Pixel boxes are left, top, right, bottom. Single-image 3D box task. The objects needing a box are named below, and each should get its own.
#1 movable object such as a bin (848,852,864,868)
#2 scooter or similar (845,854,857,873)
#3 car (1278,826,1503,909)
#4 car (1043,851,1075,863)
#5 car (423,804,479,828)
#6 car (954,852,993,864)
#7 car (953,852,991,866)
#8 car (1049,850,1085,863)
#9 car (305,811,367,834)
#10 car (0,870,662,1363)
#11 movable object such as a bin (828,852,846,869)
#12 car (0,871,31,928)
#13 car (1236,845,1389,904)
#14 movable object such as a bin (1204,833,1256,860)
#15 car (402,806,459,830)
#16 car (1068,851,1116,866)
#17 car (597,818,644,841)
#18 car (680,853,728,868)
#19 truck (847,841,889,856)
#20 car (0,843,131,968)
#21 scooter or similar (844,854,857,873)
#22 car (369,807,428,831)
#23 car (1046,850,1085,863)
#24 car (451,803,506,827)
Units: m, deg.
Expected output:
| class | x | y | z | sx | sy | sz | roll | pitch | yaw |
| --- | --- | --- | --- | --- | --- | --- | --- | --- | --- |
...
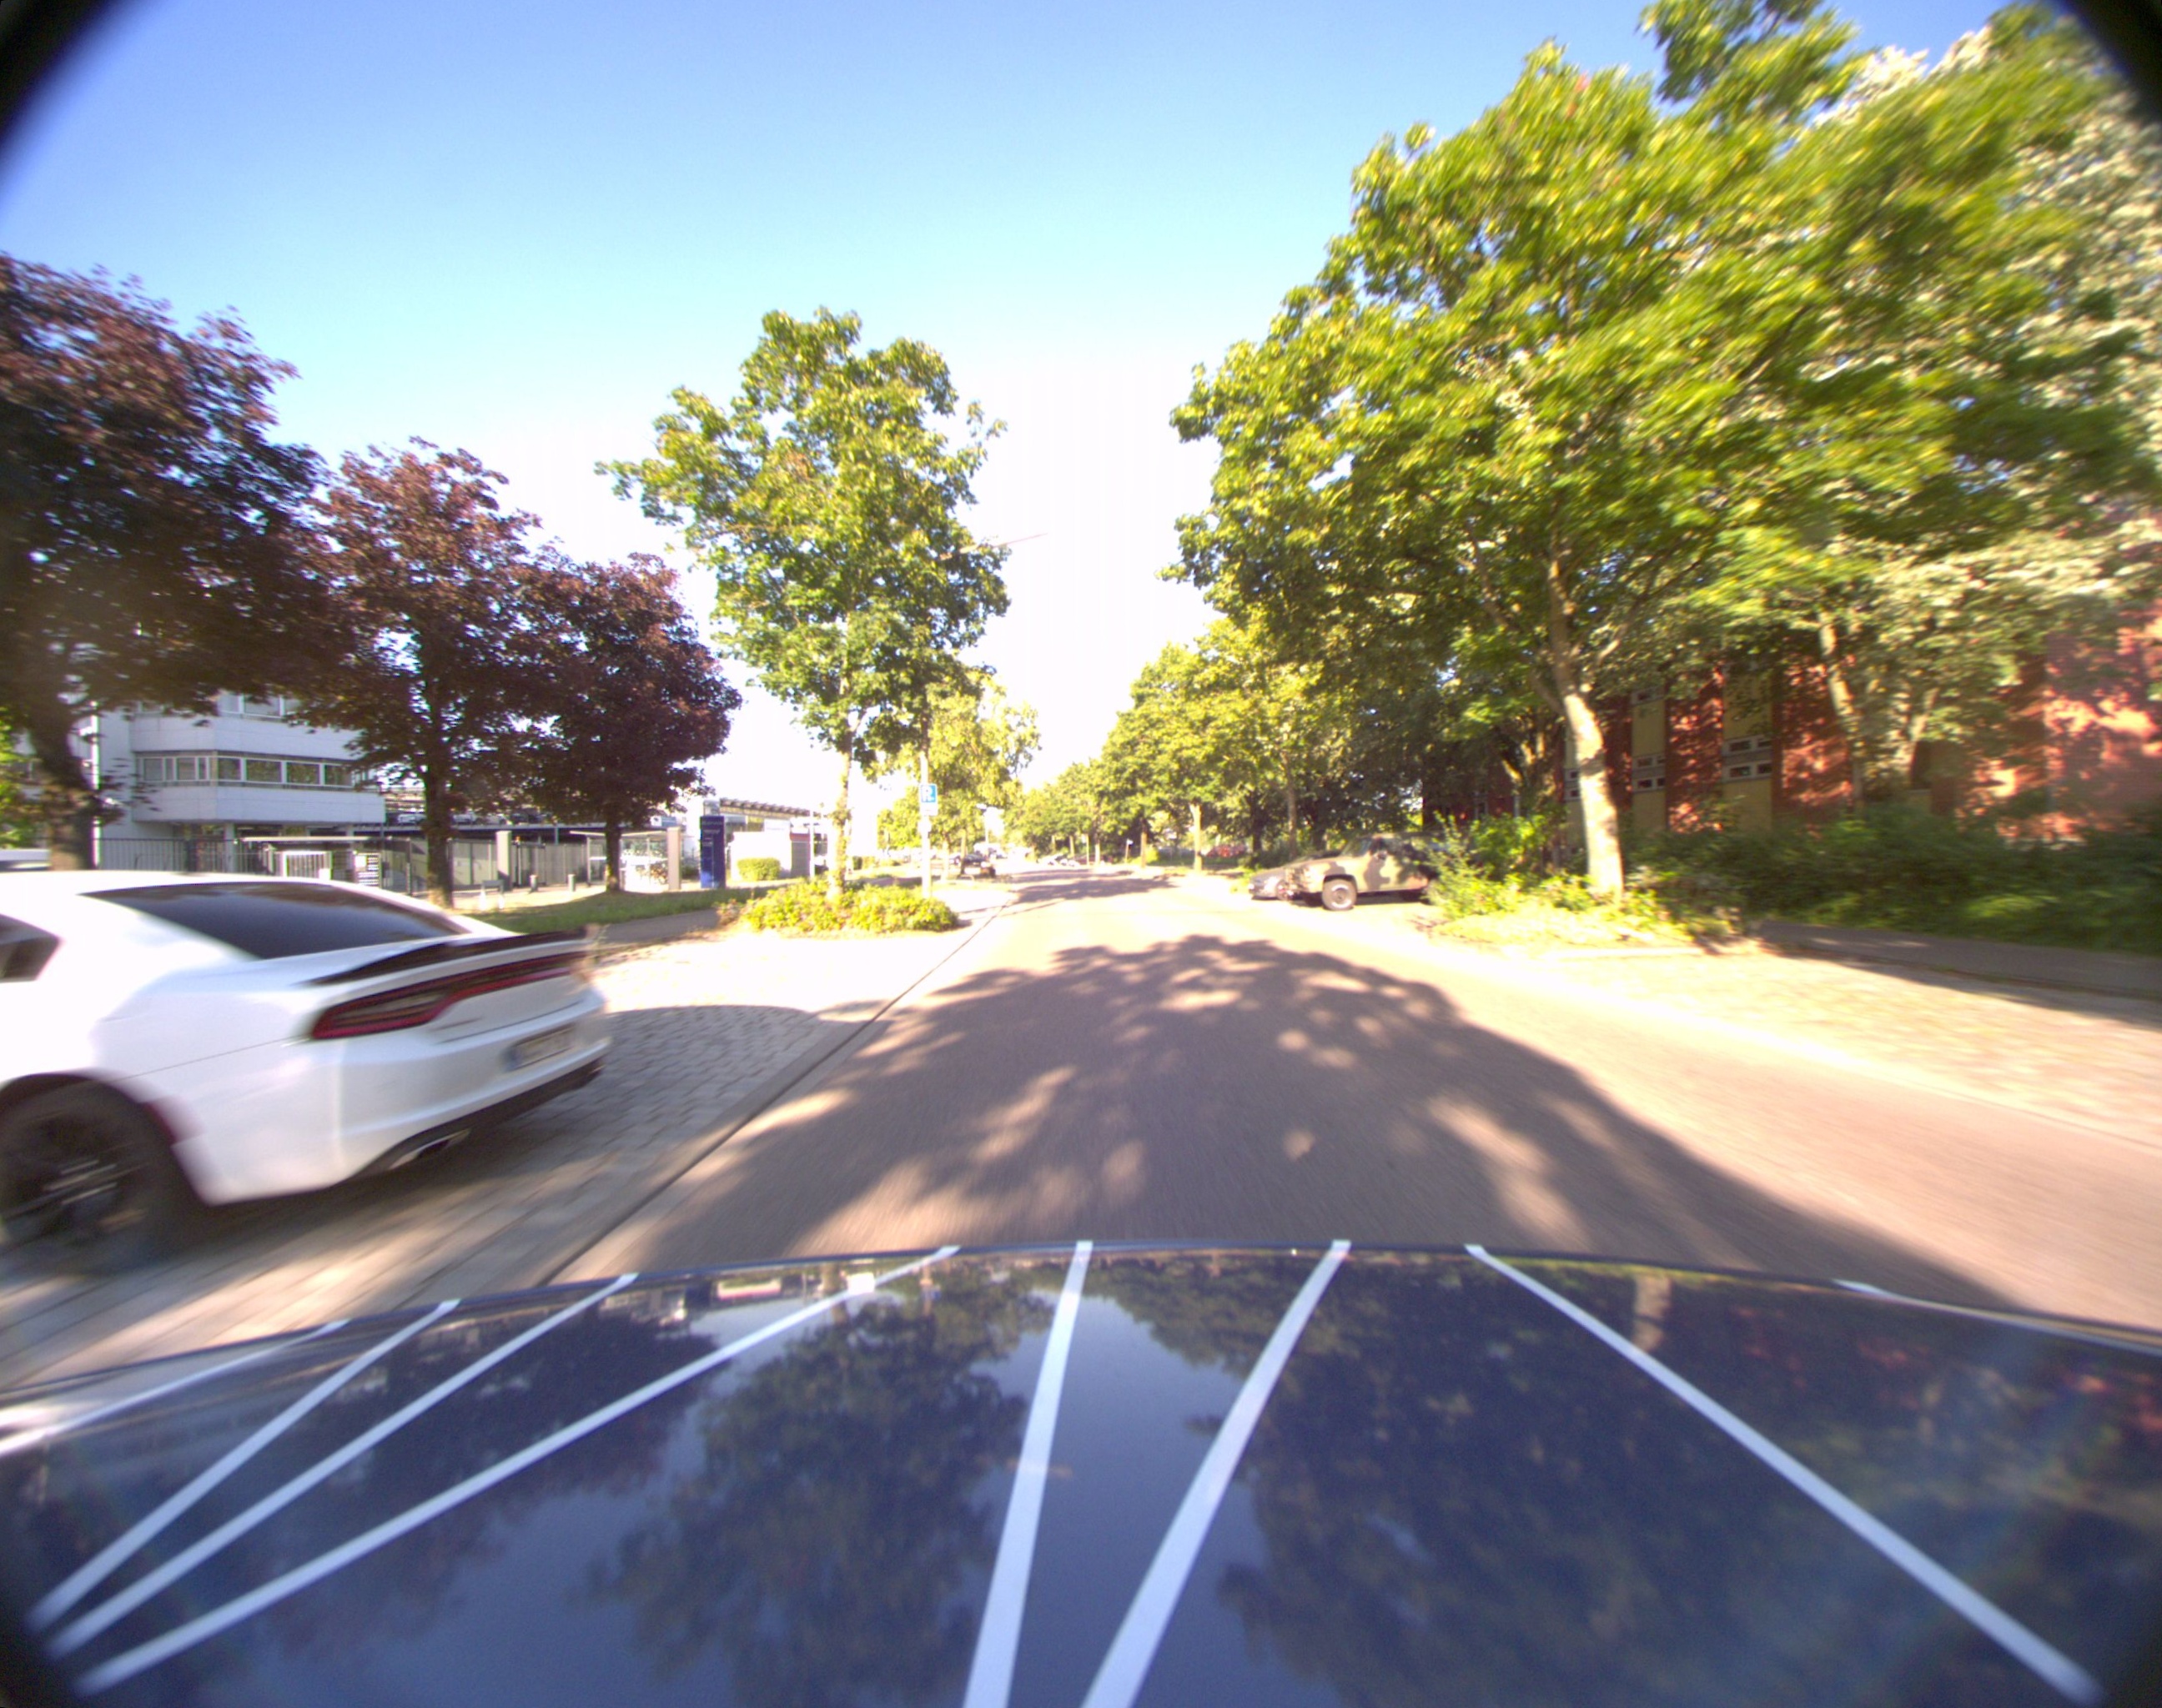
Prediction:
| class | x | y | z | sx | sy | sz | roll | pitch | yaw |
| --- | --- | --- | --- | --- | --- | --- | --- | --- | --- |
| movable object such as a bin | -20.045 | 0.511 | 67.759 | 0.846 | 1.408 | 1.039 | -2 | 0 | 22 |
| scooter or similar | -15.801 | 0.633 | 52.249 | 0.521 | 1.264 | 1.200 | -1 | 1 | -5 |
| car | 7.995 | 0.328 | 20.009 | 5.017 | 2.008 | 2.174 | -1 | 1 | 0 |
| car | -3.224 | 0.472 | 109.630 | 4.301 | 1.522 | 1.998 | -3 | 1 | -10 |
| car | -63.466 | -3.757 | 76.611 | 1.998 | 2.089 | 4.201 | -3 | 0 | 1 |
| car | -12.991 | 0.491 | 91.538 | 4.497 | 1.396 | 2.031 | -1 | 0 | -11 |
| car | -13.955 | 0.643 | 97.278 | 4.709 | 1.741 | 2.190 | -1 | 0 | -6 |
| car | -1.921 | 0.320 | 102.092 | 4.495 | 1.522 | 1.998 | -3 | 1 | -11 |
| car | -75.182 | -3.133 | 76.757 | 1.998 | 2.089 | 4.201 | -3 | 0 | 1 |
| car | -5.168 | 0.916 | 3.525 | 5.189 | 1.565 | 2.157 | -1 | 1 | -2 |
| movable object such as a bin | -21.789 | 0.540 | 67.875 | 1.214 | 1.475 | 1.037 | -1 | 1 | -4 |
| car | -28.328 | 1.143 | 17.808 | 4.008 | 1.346 | 1.802 | -1 | 1 | -40 |
| car | 7.210 | 0.609 | 23.895 | 4.223 | 1.521 | 1.705 | -4 | 1 | -4 |
| movable object such as a bin | 15.175 | -0.719 | 77.468 | 4.790 | 2.649 | 2.169 | 0 | 1 | 44 |
| car | -65.729 | -3.636 | 76.820 | 1.998 | 2.089 | 4.201 | -3 | 0 | 1 |
| car | 1.238 | 0.454 | 84.905 | 5.052 | 1.454 | 1.998 | -3 | 1 | -11 |
| car | -45.994 | -2.398 | 76.033 | 1.998 | 2.089 | 4.201 | -3 | 0 | 1 |
| car | -36.149 | 0.581 | 73.020 | 2.036 | 1.423 | 4.562 | 0 | 0 | 5 |
| truck | -52.240 | -1.243 | 186.034 | 10.094 | 3.623 | 3.301 | 0 | 0 | 24 |
| car | -18.777 | 0.862 | 13.255 | 2.004 | 1.922 | 4.940 | -1 | 0 | -43 |
| scooter or similar | -15.416 | 0.642 | 50.828 | 0.521 | 1.264 | 1.386 | -1 | 1 | -5 |
| car | -68.630 | -3.482 | 76.537 | 1.998 | 2.089 | 4.201 | -3 | 0 | 1 |
| car | -2.149 | 0.341 | 104.597 | 4.867 | 1.522 | 1.997 | -3 | 1 | -14 |
| car | -60.629 | -3.908 | 76.511 | 1.998 | 2.089 | 4.201 | -3 | 0 | 1 |
